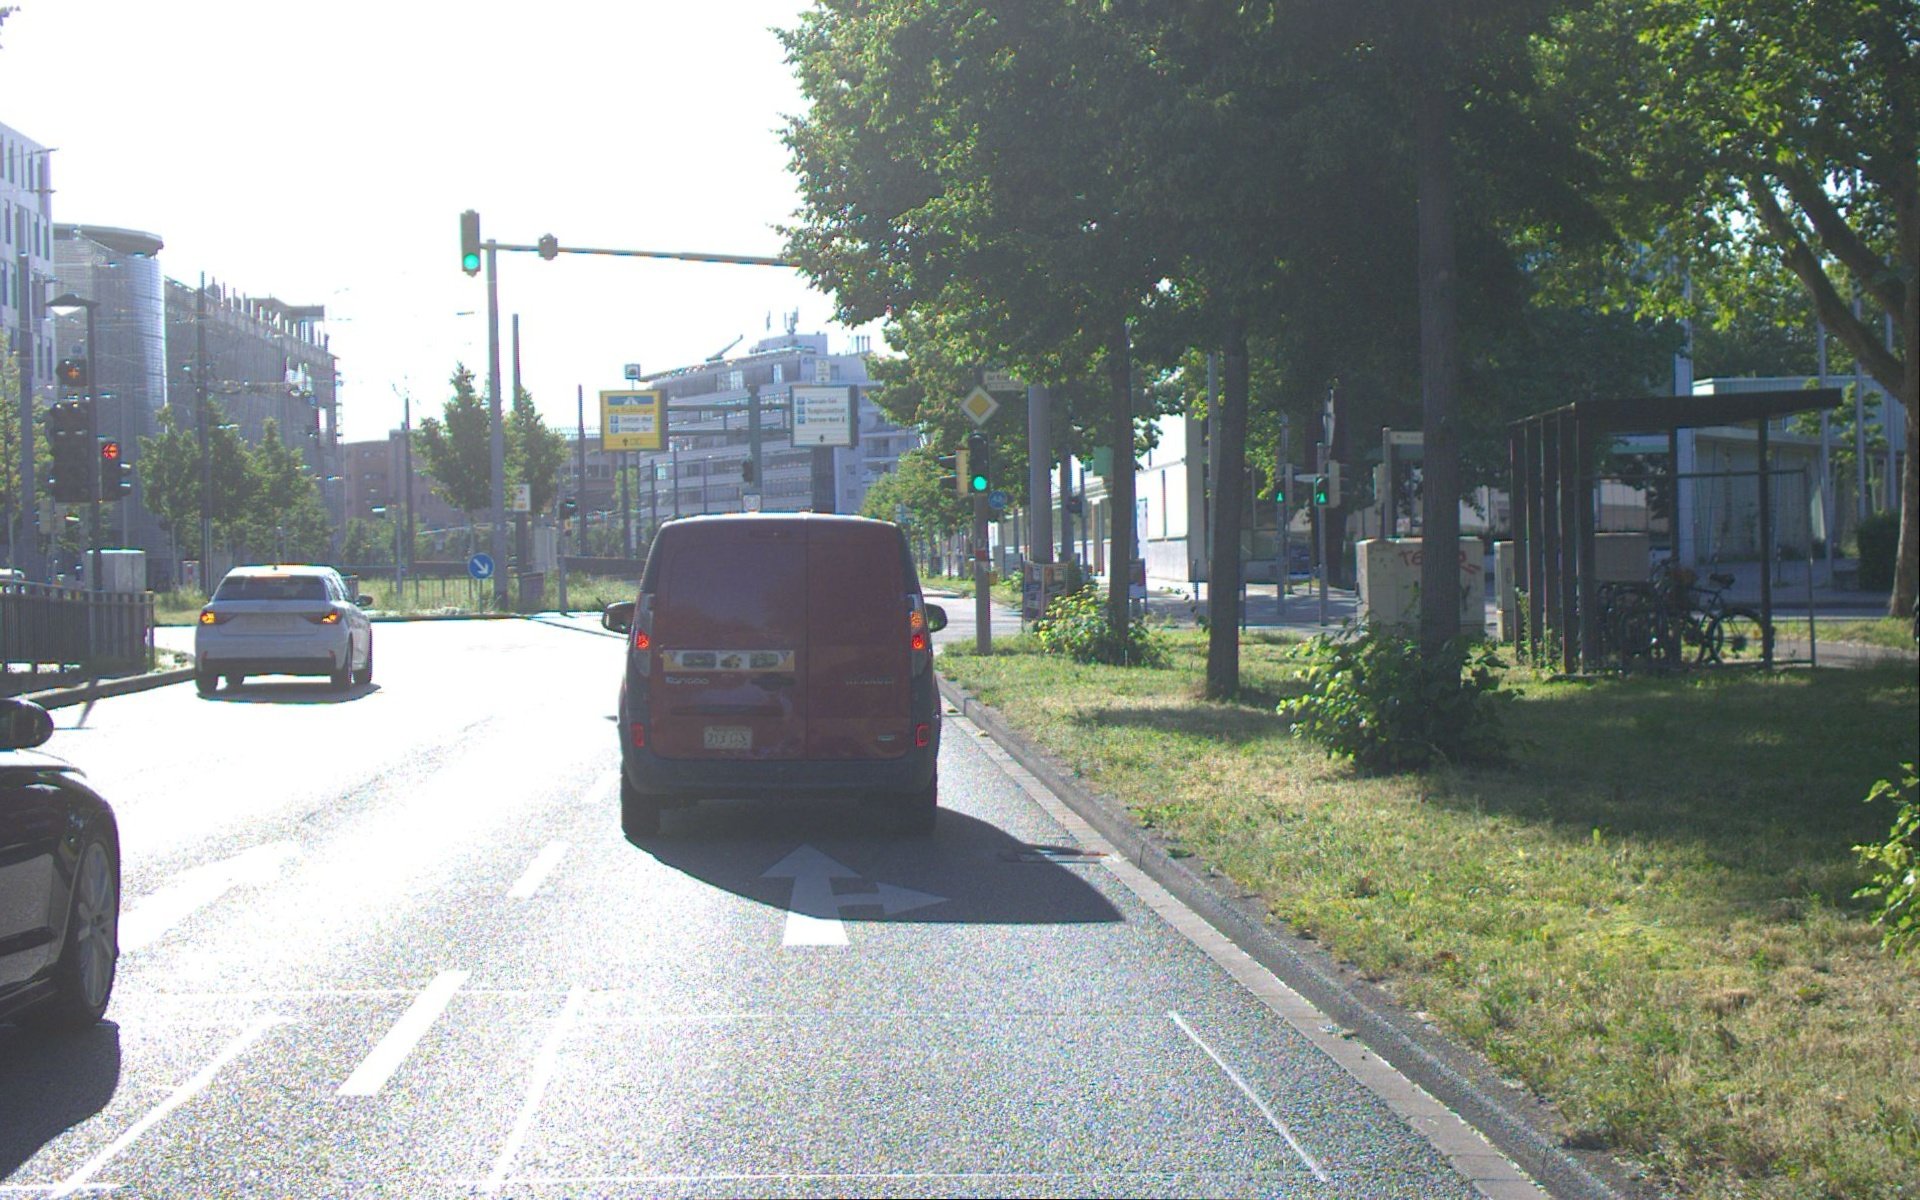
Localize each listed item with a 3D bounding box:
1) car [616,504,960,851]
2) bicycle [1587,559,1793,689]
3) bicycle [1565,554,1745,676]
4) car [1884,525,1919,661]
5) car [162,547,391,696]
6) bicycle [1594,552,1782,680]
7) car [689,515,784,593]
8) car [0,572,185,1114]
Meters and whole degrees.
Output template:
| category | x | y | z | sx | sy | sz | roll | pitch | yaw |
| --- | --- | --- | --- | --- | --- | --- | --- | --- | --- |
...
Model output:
| category | x | y | z | sx | sy | sz | roll | pitch | yaw |
| --- | --- | --- | --- | --- | --- | --- | --- | --- | --- |
| car | -1.100 | 0.410 | 20.297 | 1.808 | 1.831 | 4.001 | 1 | 0 | -5 |
| bicycle | 7.186 | 0.229 | 33.879 | 1.917 | 1.264 | 0.479 | 0 | 1 | -1 |
| bicycle | 7.258 | 0.152 | 35.918 | 1.778 | 1.264 | 0.479 | 0 | 1 | -1 |
| car | 12.792 | -0.069 | 41.690 | 1.871 | 1.678 | 4.000 | 1 | 0 | -3 |
| car | -7.848 | 0.230 | 39.830 | 1.993 | 1.612 | 4.000 | 1 | 0 | -2 |
| bicycle | 7.357 | 0.161 | 34.769 | 1.778 | 1.264 | 0.479 | 1 | 0 | -1 |
| car | -5.859 | -1.200 | 90.652 | 2.269 | 2.007 | 4.710 | 0 | 1 | -1 |
| car | -3.610 | 0.672 | 9.247 | 1.953 | 1.475 | 5.085 | 1 | 1 | -1 |
